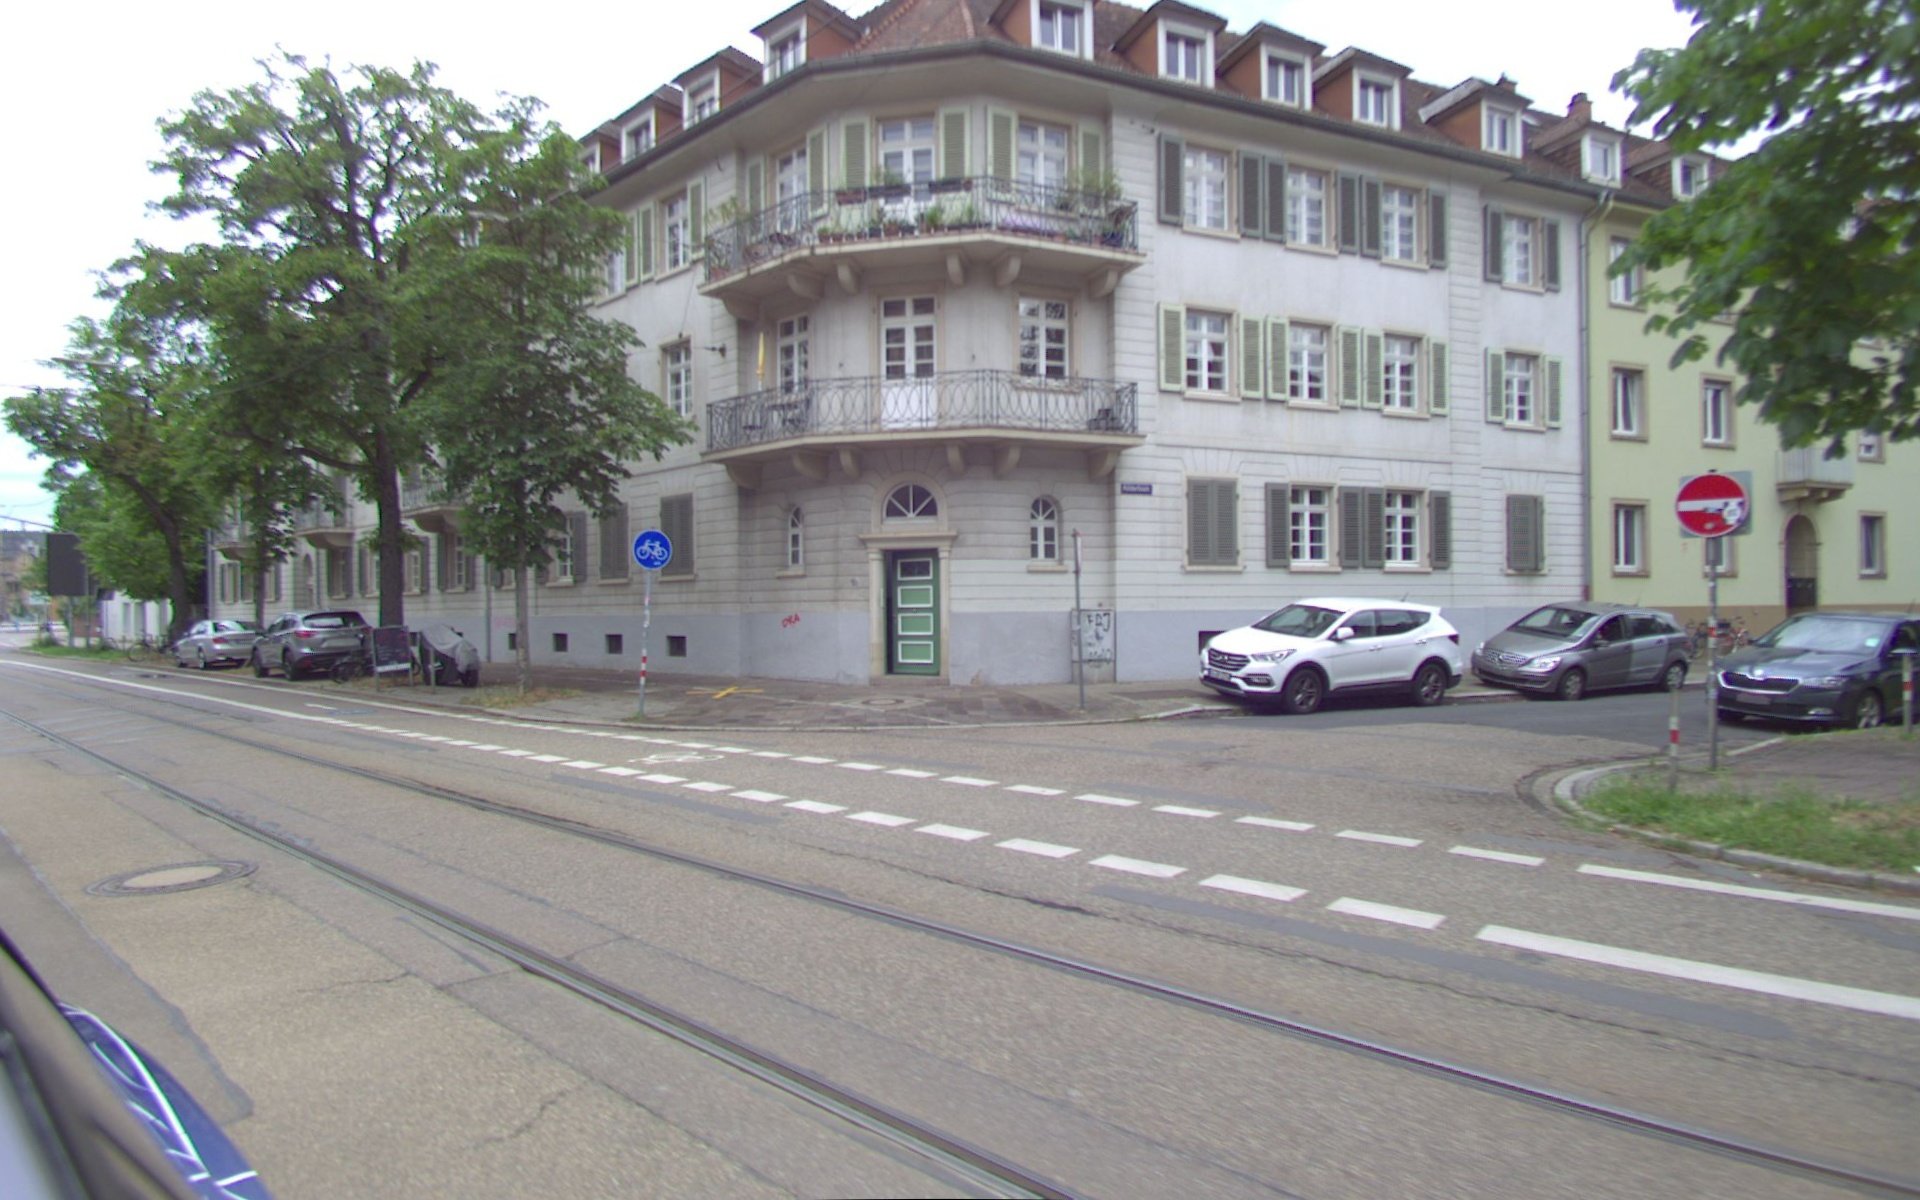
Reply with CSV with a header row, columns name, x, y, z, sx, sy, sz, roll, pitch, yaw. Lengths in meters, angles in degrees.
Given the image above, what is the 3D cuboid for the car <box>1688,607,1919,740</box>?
name,x,y,z,sx,sy,sz,roll,pitch,yaw
car,11.553,0.846,12.922,4.000,1.421,1.667,-1,0,-20

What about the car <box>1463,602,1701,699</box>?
name,x,y,z,sx,sy,sz,roll,pitch,yaw
car,11.482,0.859,18.685,3.978,1.524,1.744,-1,1,-22

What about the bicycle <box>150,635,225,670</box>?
name,x,y,z,sx,sy,sz,roll,pitch,yaw
bicycle,-25.367,1.710,33.267,0.563,1.035,1.877,-2,0,36

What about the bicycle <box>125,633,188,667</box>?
name,x,y,z,sx,sy,sz,roll,pitch,yaw
bicycle,-29.322,1.808,36.940,1.718,1.137,0.519,-3,0,-31

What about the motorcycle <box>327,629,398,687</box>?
name,x,y,z,sx,sy,sz,roll,pitch,yaw
motorcycle,-13.610,1.312,23.065,1.270,1.231,0.548,-2,0,-43

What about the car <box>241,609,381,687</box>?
name,x,y,z,sx,sy,sz,roll,pitch,yaw
car,-16.150,1.150,25.100,4.292,1.673,1.818,-2,1,42

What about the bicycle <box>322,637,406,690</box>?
name,x,y,z,sx,sy,sz,roll,pitch,yaw
bicycle,-13.038,1.360,22.150,0.930,1.012,1.360,-2,2,45

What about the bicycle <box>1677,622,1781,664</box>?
name,x,y,z,sx,sy,sz,roll,pitch,yaw
bicycle,19.216,1.057,25.284,2.620,0.908,0.822,0,2,-22

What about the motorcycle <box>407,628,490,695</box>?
name,x,y,z,sx,sy,sz,roll,pitch,yaw
motorcycle,-10.258,1.212,20.279,2.137,1.267,0.535,-1,-1,35

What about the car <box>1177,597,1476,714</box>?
name,x,y,z,sx,sy,sz,roll,pitch,yaw
car,5.978,0.816,16.509,4.438,1.675,1.945,0,-1,-24

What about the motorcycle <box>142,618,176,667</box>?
name,x,y,z,sx,sy,sz,roll,pitch,yaw
motorcycle,-28.208,1.468,35.626,0.822,1.655,2.483,0,-1,-41

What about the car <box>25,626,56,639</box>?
name,x,y,z,sx,sy,sz,roll,pitch,yaw
car,-115.482,4.114,127.115,1.469,1.520,3.480,-1,-1,-16

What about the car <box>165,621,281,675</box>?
name,x,y,z,sx,sy,sz,roll,pitch,yaw
car,-22.213,1.407,30.454,4.611,1.477,1.793,-2,0,40
